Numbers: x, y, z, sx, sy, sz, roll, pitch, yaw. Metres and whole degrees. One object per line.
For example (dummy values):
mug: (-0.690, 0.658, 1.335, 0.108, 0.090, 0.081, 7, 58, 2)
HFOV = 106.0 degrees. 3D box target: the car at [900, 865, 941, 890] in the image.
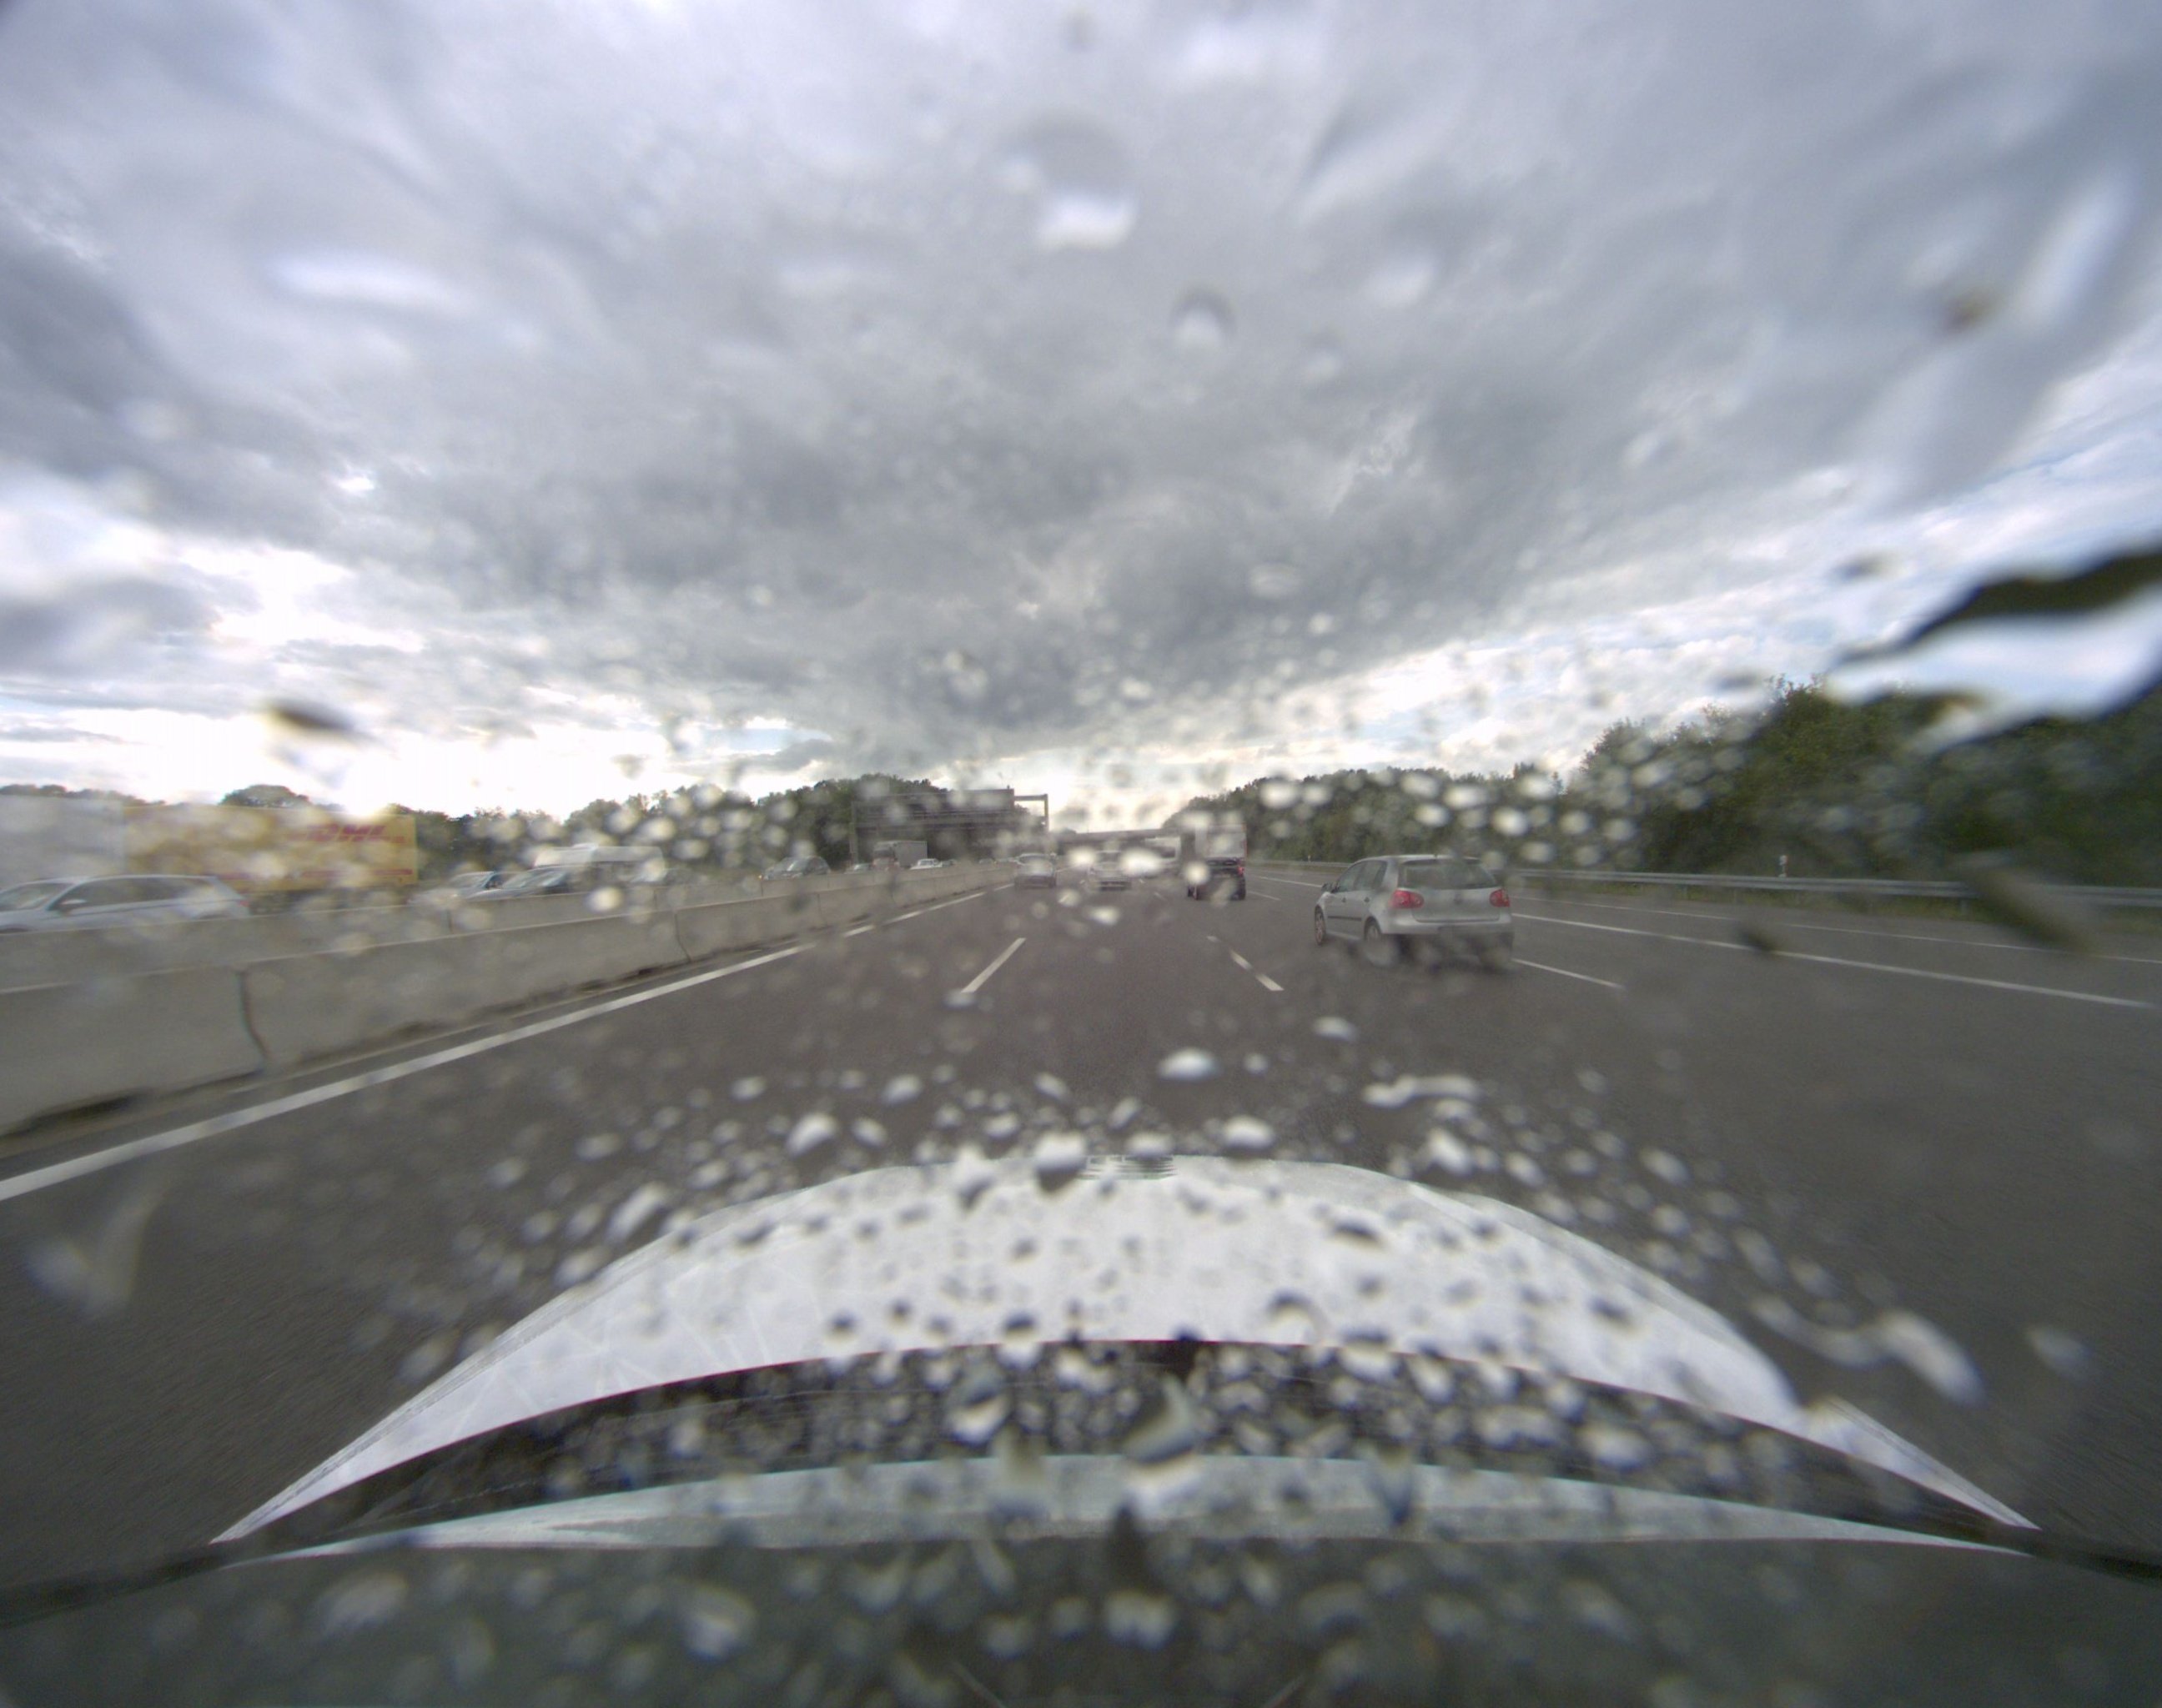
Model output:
car: (-12.022, 1.717, 61.358, 1.986, 1.714, 4.874, -1, 0, 2)

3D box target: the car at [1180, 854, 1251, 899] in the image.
car: (4.625, 0.733, 28.546, 1.878, 1.407, 4.283, -1, 0, 1)

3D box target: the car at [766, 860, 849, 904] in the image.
car: (-12.086, 1.201, 36.322, 1.986, 1.781, 4.675, -1, 0, 2)

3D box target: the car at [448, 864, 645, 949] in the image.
car: (-12.613, 1.168, 19.581, 1.986, 1.750, 4.002, -1, 0, 2)

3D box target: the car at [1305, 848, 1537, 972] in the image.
car: (4.675, 0.680, 11.894, 1.789, 1.477, 4.039, -1, 0, 2)

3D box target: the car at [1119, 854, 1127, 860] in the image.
car: (11.361, 0.872, 222.414, 1.875, 1.686, 3.999, -1, 0, -1)

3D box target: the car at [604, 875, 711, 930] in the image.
car: (-16.609, 1.853, 32.194, 1.986, 1.904, 4.002, -1, 0, 2)

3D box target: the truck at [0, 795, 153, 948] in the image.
truck: (-27.035, 0.431, 17.117, 2.866, 3.612, 10.319, -1, 0, 3)

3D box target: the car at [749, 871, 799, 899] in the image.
car: (-23.730, 2.365, 63.097, 1.986, 2.013, 4.545, -1, 0, 2)

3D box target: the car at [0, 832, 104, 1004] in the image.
car: (-13.729, 0.768, 7.674, 1.986, 2.013, 5.759, -1, 0, 1)

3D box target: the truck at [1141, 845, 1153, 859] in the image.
truck: (17.992, -0.555, 223.091, 2.894, 3.810, 7.279, -1, 0, 3)

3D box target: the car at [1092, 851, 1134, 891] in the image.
car: (1.405, 0.730, 37.004, 1.774, 1.716, 4.353, -1, 0, 1)

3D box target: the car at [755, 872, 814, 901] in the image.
car: (-19.554, 2.129, 53.895, 1.986, 1.714, 4.701, -1, 0, 2)

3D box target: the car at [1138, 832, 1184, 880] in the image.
car: (5.235, 0.131, 54.263, 2.557, 2.895, 7.538, -1, 0, 2)

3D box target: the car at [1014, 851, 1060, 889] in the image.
car: (-2.110, 0.713, 39.993, 1.808, 1.689, 4.854, -1, 0, 2)

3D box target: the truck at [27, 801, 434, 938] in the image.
truck: (-26.557, 0.430, 26.555, 2.866, 3.612, 9.587, -1, 0, 3)

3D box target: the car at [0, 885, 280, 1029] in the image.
car: (-17.198, 1.647, 13.998, 1.986, 2.013, 4.815, -1, 0, 2)

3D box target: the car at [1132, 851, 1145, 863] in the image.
car: (9.457, 0.494, 135.300, 2.035, 1.823, 4.907, -1, 0, 3)

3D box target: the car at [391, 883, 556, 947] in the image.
car: (-20.174, 1.966, 27.350, 1.866, 1.772, 4.712, -1, 0, 2)

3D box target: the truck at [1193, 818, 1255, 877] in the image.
truck: (9.811, -0.433, 56.852, 3.120, 3.709, 9.856, -1, 0, 3)

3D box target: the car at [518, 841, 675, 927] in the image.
car: (-20.339, 1.164, 34.733, 2.651, 3.277, 6.563, -1, 0, 1)

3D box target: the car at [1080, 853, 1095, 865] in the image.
car: (0.850, 0.662, 107.997, 1.774, 1.481, 4.355, -1, 0, 2)

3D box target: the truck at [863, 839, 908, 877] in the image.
truck: (-21.852, 0.444, 91.275, 3.208, 4.057, 6.235, -1, 0, 2)
